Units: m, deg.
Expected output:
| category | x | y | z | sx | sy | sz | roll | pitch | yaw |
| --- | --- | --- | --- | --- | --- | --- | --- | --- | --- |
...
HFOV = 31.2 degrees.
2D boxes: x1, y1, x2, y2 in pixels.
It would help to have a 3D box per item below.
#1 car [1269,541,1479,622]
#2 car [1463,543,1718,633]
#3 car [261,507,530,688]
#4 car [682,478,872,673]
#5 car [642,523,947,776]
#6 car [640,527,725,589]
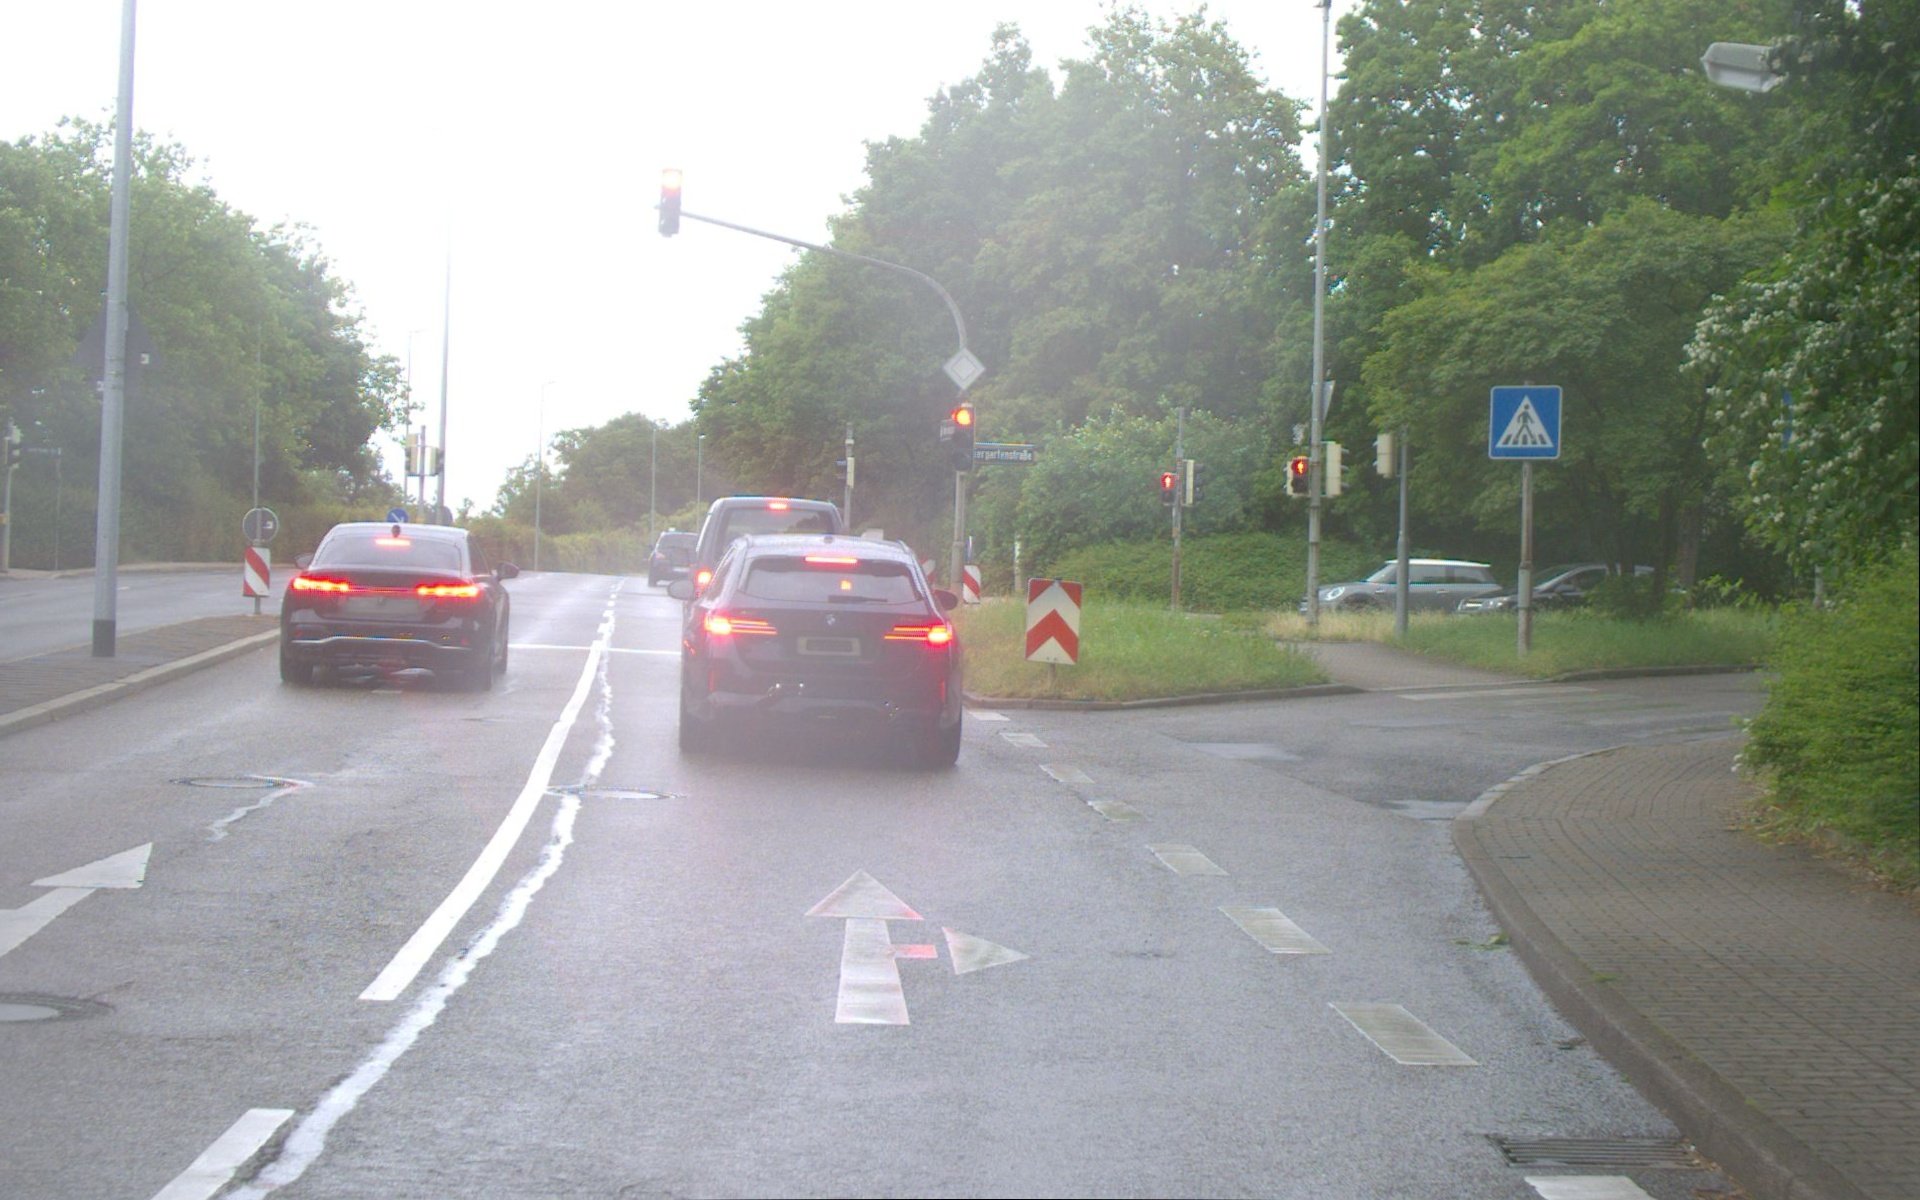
| category | x | y | z | sx | sy | sz | roll | pitch | yaw |
| --- | --- | --- | --- | --- | --- | --- | --- | --- | --- |
| car | 7.597 | -0.344 | 63.267 | 3.501 | 1.422 | 1.703 | -1 | 0 | -7 |
| car | 11.021 | -0.226 | 60.260 | 3.986 | 1.504 | 1.902 | 0 | 1 | -7 |
| car | -5.038 | -0.053 | 31.208 | 1.993 | 1.522 | 4.328 | 0 | 1 | -4 |
| car | -1.952 | -0.274 | 36.316 | 1.817 | 1.862 | 3.953 | 3 | 1 | -4 |
| car | -1.093 | 0.310 | 24.553 | 1.898 | 1.546 | 4.615 | 3 | 0 | -1 |
| car | -7.336 | -1.114 | 90.700 | 1.993 | 1.618 | 3.953 | 0 | 1 | -8 |
